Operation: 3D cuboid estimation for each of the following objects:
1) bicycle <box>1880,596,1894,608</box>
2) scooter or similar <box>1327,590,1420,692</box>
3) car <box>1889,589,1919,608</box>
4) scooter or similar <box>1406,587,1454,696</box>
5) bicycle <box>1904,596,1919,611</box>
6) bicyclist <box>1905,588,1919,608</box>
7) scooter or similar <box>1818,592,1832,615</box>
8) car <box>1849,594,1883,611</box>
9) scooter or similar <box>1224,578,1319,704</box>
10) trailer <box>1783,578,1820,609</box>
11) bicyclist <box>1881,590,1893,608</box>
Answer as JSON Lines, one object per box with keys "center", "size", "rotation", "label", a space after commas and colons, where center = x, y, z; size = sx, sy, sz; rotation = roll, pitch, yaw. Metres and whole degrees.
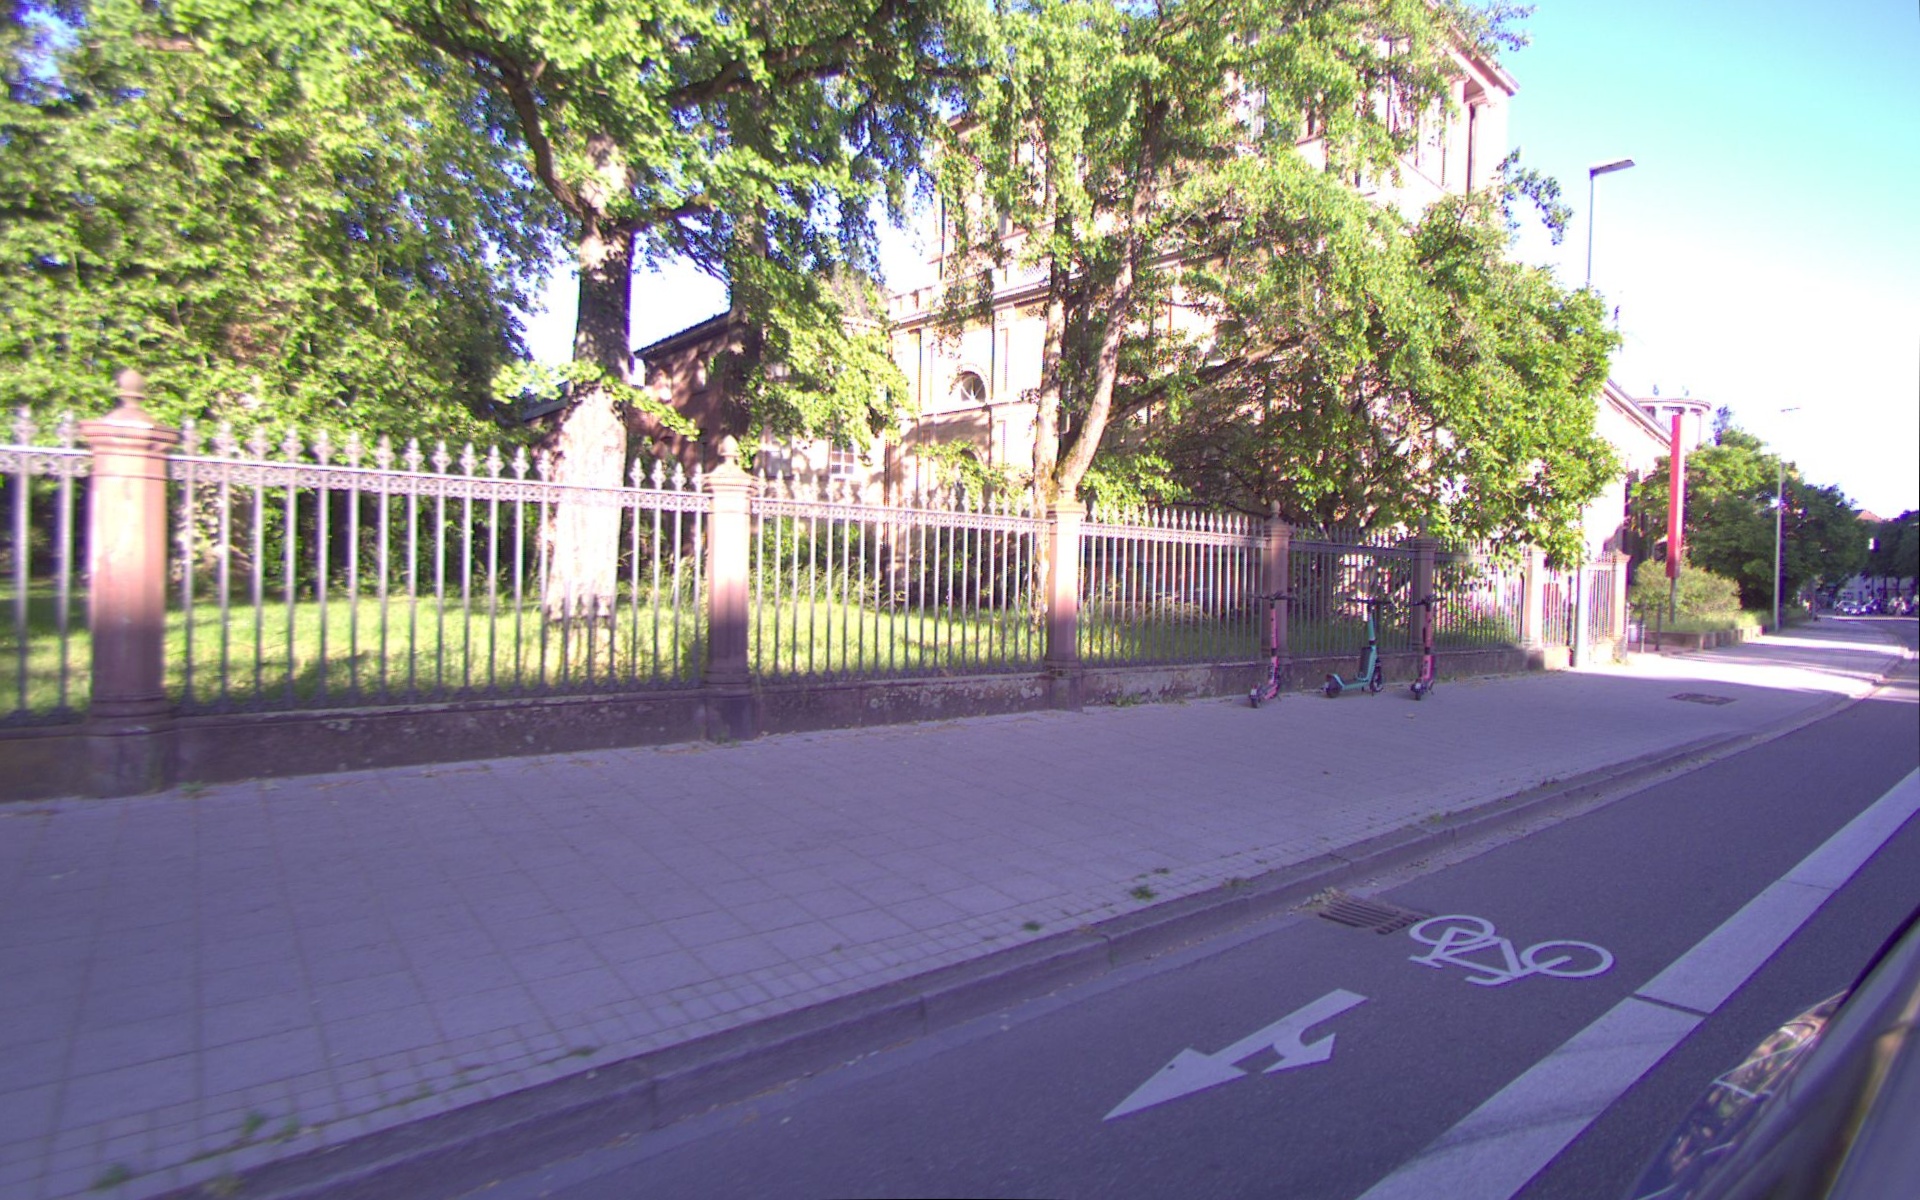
{"center": [86.077, 0.207, 93.973], "size": [0.667, 1.086, 1.730], "rotation": [1, 1, 36], "label": "bicycle"}
{"center": [4.939, 0.462, 12.060], "size": [1.314, 1.136, 0.481], "rotation": [0, 3, -43], "label": "scooter or similar"}
{"center": [88.468, -0.144, 94.200], "size": [1.983, 1.771, 4.693], "rotation": [3, 2, 32], "label": "car"}
{"center": [5.749, 0.482, 12.358], "size": [0.296, 1.255, 1.147], "rotation": [3, 2, 34], "label": "scooter or similar"}
{"center": [80.816, 0.290, 85.833], "size": [0.827, 1.157, 1.943], "rotation": [1, 1, 37], "label": "bicycle"}
{"center": [80.849, -0.180, 85.847], "size": [0.801, 1.628, 0.814], "rotation": [3, 2, 37], "label": "bicyclist"}
{"center": [51.074, 0.197, 59.743], "size": [0.555, 1.325, 1.804], "rotation": [3, 2, 42], "label": "scooter or similar"}
{"center": [80.716, 0.206, 90.168], "size": [1.543, 1.311, 3.598], "rotation": [6, 4, 31], "label": "car"}
{"center": [3.401, 0.400, 10.984], "size": [0.546, 1.258, 1.539], "rotation": [3, 2, 33], "label": "scooter or similar"}
{"center": [75.785, -0.576, 91.178], "size": [2.074, 2.559, 4.434], "rotation": [5, 3, 36], "label": "trailer"}
{"center": [86.097, -0.106, 93.996], "size": [0.670, 1.673, 0.876], "rotation": [1, 1, 35], "label": "bicyclist"}
